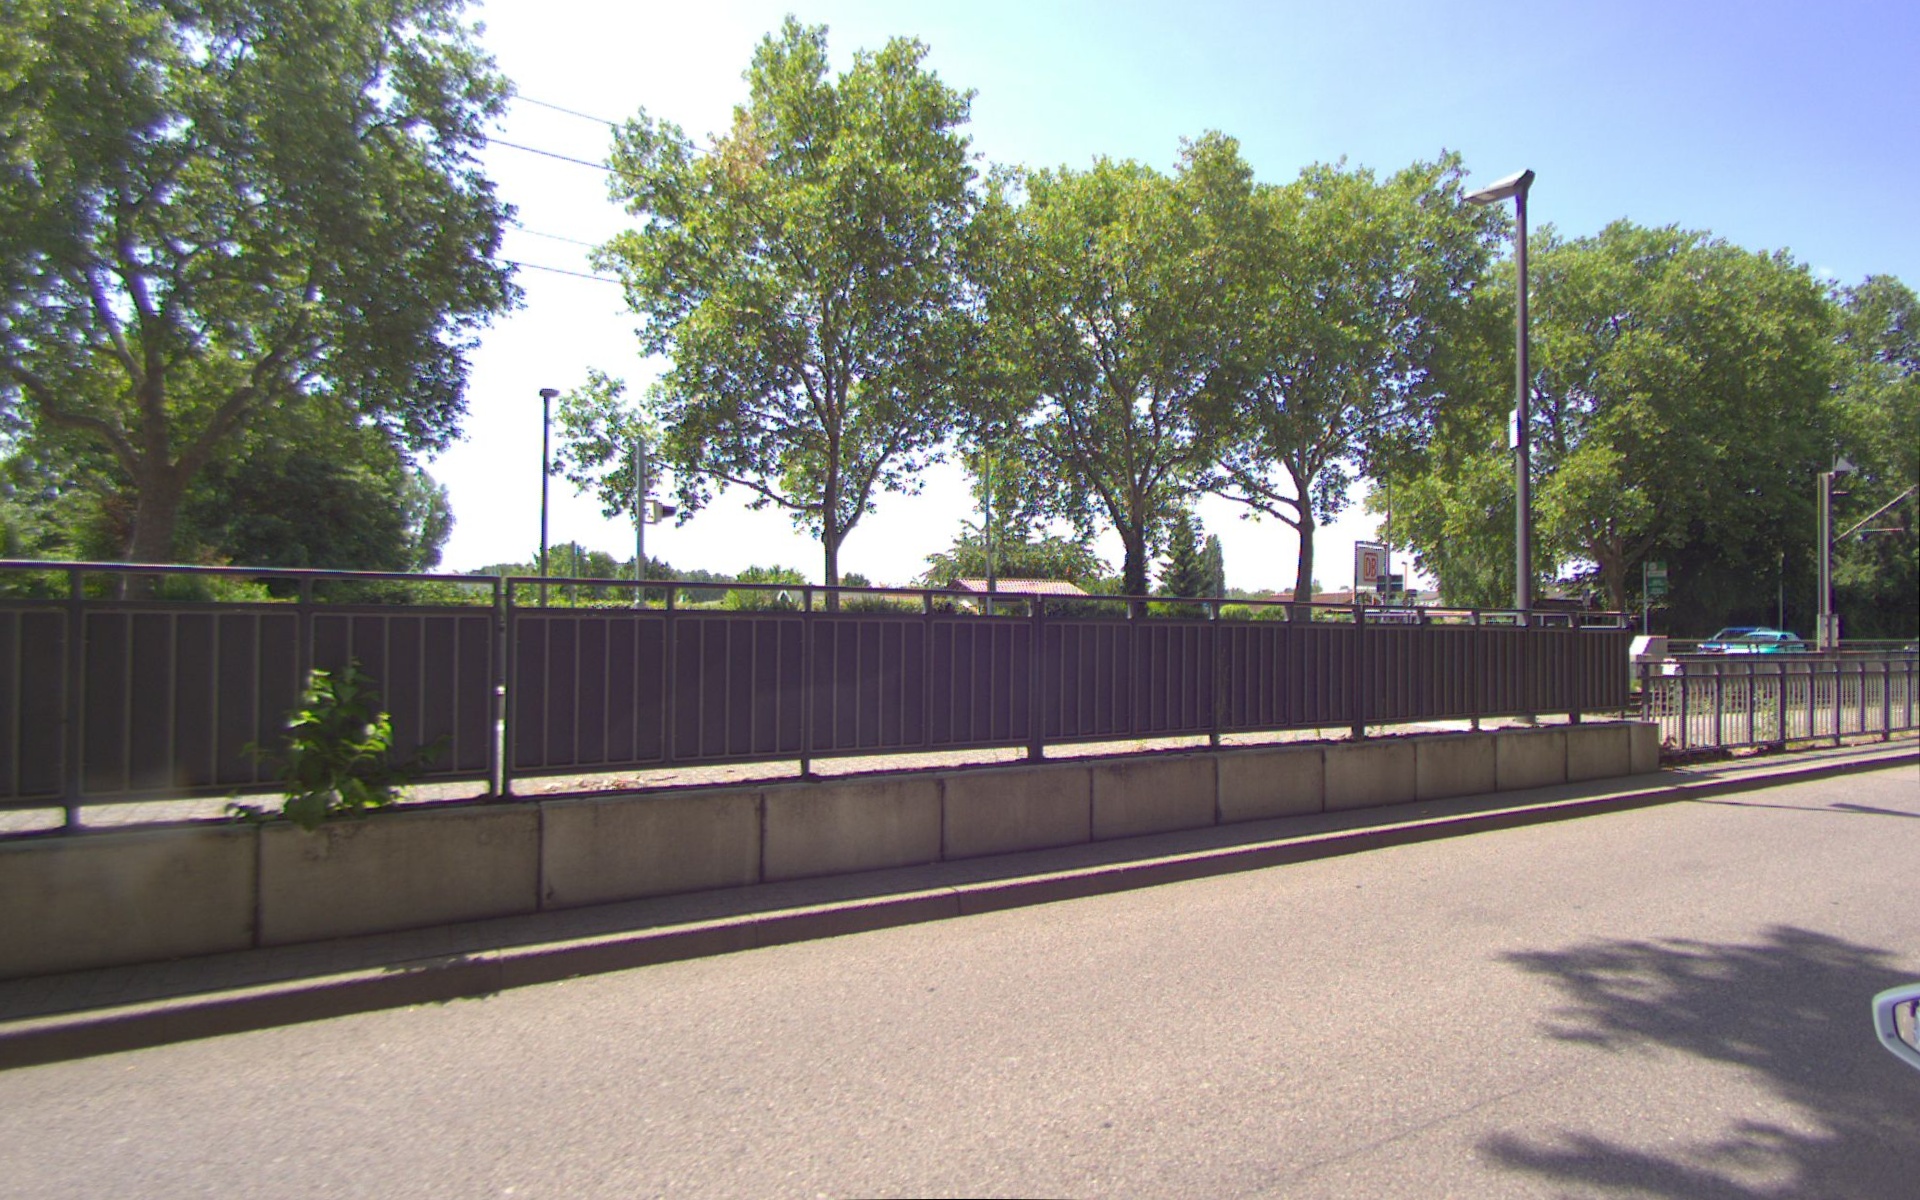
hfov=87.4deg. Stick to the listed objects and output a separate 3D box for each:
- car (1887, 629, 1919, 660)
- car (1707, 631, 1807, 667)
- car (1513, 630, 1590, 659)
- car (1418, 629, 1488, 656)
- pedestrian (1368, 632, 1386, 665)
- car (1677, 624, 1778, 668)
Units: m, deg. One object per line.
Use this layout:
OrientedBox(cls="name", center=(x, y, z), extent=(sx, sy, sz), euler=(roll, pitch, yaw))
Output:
OrientedBox(cls="car", center=(55.779, 2.564, 58.200), extent=(4.329, 1.706, 1.737), euler=(1, -1, -28))
OrientedBox(cls="car", center=(30.282, 1.855, 38.159), extent=(3.789, 1.282, 1.639), euler=(1, -1, -28))
OrientedBox(cls="car", center=(32.256, 2.410, 54.810), extent=(1.641, 1.495, 3.288), euler=(2, -1, -41))
OrientedBox(cls="car", center=(28.434, 2.435, 57.981), extent=(1.641, 1.495, 3.288), euler=(2, -1, -41))
OrientedBox(cls="pedestrian", center=(18.994, 2.186, 45.795), extent=(0.641, 1.471, 0.550), euler=(2, -1, -44))
OrientedBox(cls="car", center=(32.740, 1.965, 42.844), extent=(4.329, 1.706, 1.736), euler=(2, 2, -28))
